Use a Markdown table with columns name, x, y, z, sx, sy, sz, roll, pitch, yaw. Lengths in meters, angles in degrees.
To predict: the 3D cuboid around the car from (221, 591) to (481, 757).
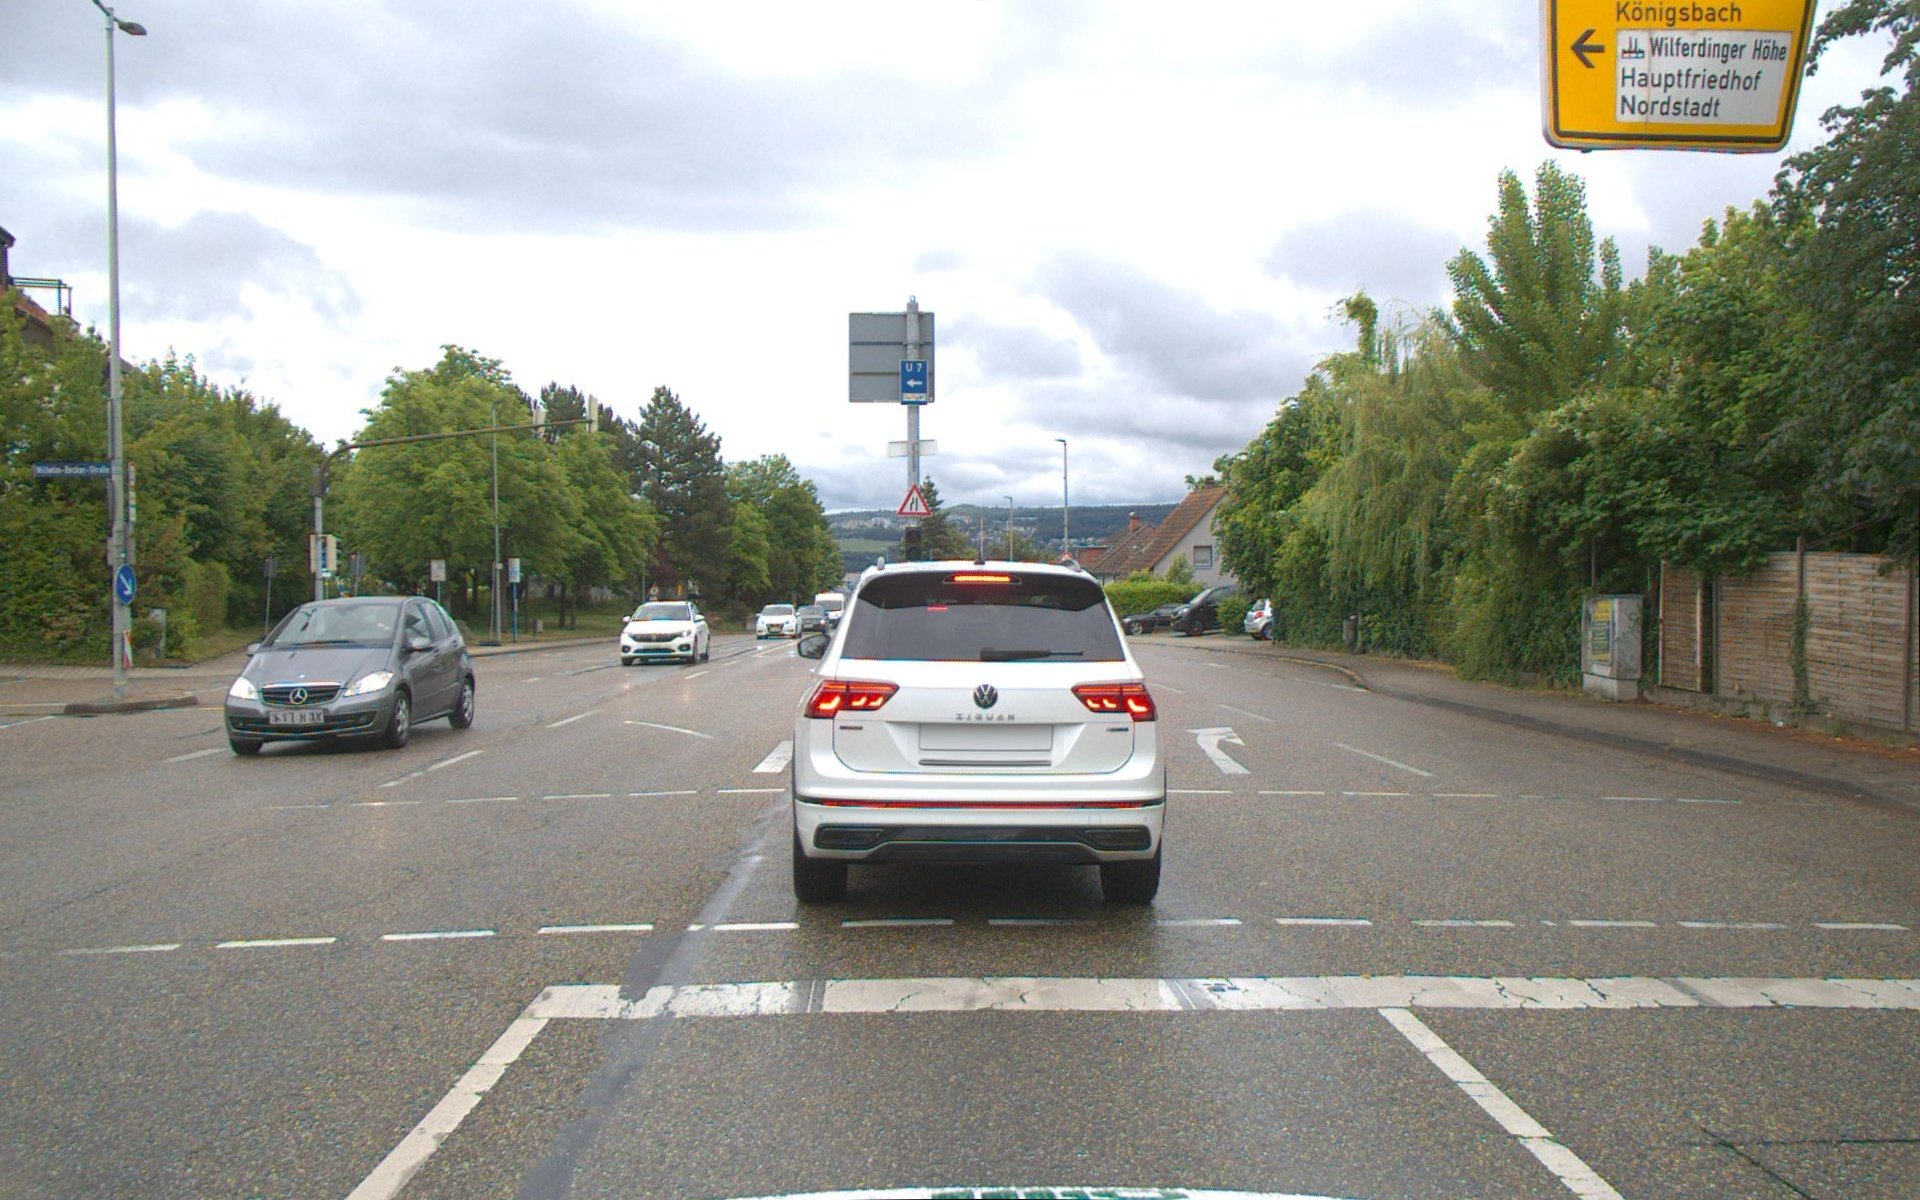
| name | x | y | z | sx | sy | sz | roll | pitch | yaw |
| --- | --- | --- | --- | --- | --- | --- | --- | --- | --- |
| car | -6.627 | 0.734 | 18.376 | 1.665 | 1.627 | 3.548 | -1 | 0 | -3 |

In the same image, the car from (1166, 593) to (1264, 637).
| name | x | y | z | sx | sy | sz | roll | pitch | yaw |
| --- | --- | --- | --- | --- | --- | --- | --- | --- | --- |
| car | 10.216 | 0.582 | 66.398 | 3.556 | 1.654 | 1.790 | 1 | 1 | -5 |

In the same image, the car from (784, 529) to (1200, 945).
| name | x | y | z | sx | sy | sz | roll | pitch | yaw |
| --- | --- | --- | --- | --- | --- | --- | --- | --- | --- |
| car | 0.086 | 0.577 | 9.186 | 1.727 | 1.725 | 4.271 | 2 | 0 | -2 |

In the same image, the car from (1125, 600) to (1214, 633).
| name | x | y | z | sx | sy | sz | roll | pitch | yaw |
| --- | --- | --- | --- | --- | --- | --- | --- | --- | --- |
| car | 8.990 | 0.714 | 71.186 | 3.613 | 1.394 | 1.518 | 1 | -2 | -2 |

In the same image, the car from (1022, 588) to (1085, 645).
| name | x | y | z | sx | sy | sz | roll | pitch | yaw |
| --- | --- | --- | --- | --- | --- | --- | --- | --- | --- |
| car | 2.996 | 0.505 | 53.579 | 1.677 | 1.789 | 3.800 | 0 | 0 | -2 |

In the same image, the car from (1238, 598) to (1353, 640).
| name | x | y | z | sx | sy | sz | roll | pitch | yaw |
| --- | --- | --- | --- | --- | --- | --- | --- | --- | --- |
| car | 11.871 | 0.672 | 58.676 | 3.644 | 1.420 | 1.725 | -1 | -1 | -8 |

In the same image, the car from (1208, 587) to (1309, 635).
| name | x | y | z | sx | sy | sz | roll | pitch | yaw |
| --- | --- | --- | --- | --- | --- | --- | --- | --- | --- |
| car | 11.540 | 0.404 | 64.029 | 3.556 | 1.777 | 1.707 | 0 | 2 | -5 |

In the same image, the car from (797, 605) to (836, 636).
| name | x | y | z | sx | sy | sz | roll | pitch | yaw |
| --- | --- | --- | --- | --- | --- | --- | --- | --- | --- |
| car | -7.519 | 1.059 | 86.698 | 1.740 | 1.528 | 4.470 | -2 | 0 | -2 |

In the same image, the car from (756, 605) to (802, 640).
| name | x | y | z | sx | sy | sz | roll | pitch | yaw |
| --- | --- | --- | --- | --- | --- | --- | --- | --- | --- |
| car | -7.768 | 0.956 | 71.391 | 1.711 | 1.421 | 3.800 | 0 | 0 | -3 |

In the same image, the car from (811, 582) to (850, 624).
| name | x | y | z | sx | sy | sz | roll | pitch | yaw |
| --- | --- | --- | --- | --- | --- | --- | --- | --- | --- |
| car | -8.395 | 0.173 | 107.750 | 2.251 | 2.572 | 5.771 | -1 | 0 | -3 |

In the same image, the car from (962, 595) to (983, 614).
| name | x | y | z | sx | sy | sz | roll | pitch | yaw |
| --- | --- | --- | --- | --- | --- | --- | --- | --- | --- |
| car | 1.127 | 0.384 | 147.716 | 1.813 | 1.602 | 4.000 | -1 | 0 | -1 |

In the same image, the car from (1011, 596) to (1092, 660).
| name | x | y | z | sx | sy | sz | roll | pitch | yaw |
| --- | --- | --- | --- | --- | --- | --- | --- | --- | --- |
| car | 2.209 | 0.657 | 40.740 | 1.646 | 1.485 | 3.800 | 1 | 0 | -2 |

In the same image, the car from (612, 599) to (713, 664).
| name | x | y | z | sx | sy | sz | roll | pitch | yaw |
| --- | --- | --- | --- | --- | --- | --- | --- | --- | --- |
| car | -7.221 | 0.733 | 40.513 | 1.929 | 1.480 | 4.305 | -1 | 0 | -4 |

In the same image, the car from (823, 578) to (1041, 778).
| name | x | y | z | sx | sy | sz | roll | pitch | yaw |
| --- | --- | --- | --- | --- | --- | --- | --- | --- | --- |
| car | -0.238 | 0.629 | 15.451 | 1.762 | 1.617 | 3.926 | 0 | 0 | 0 |
